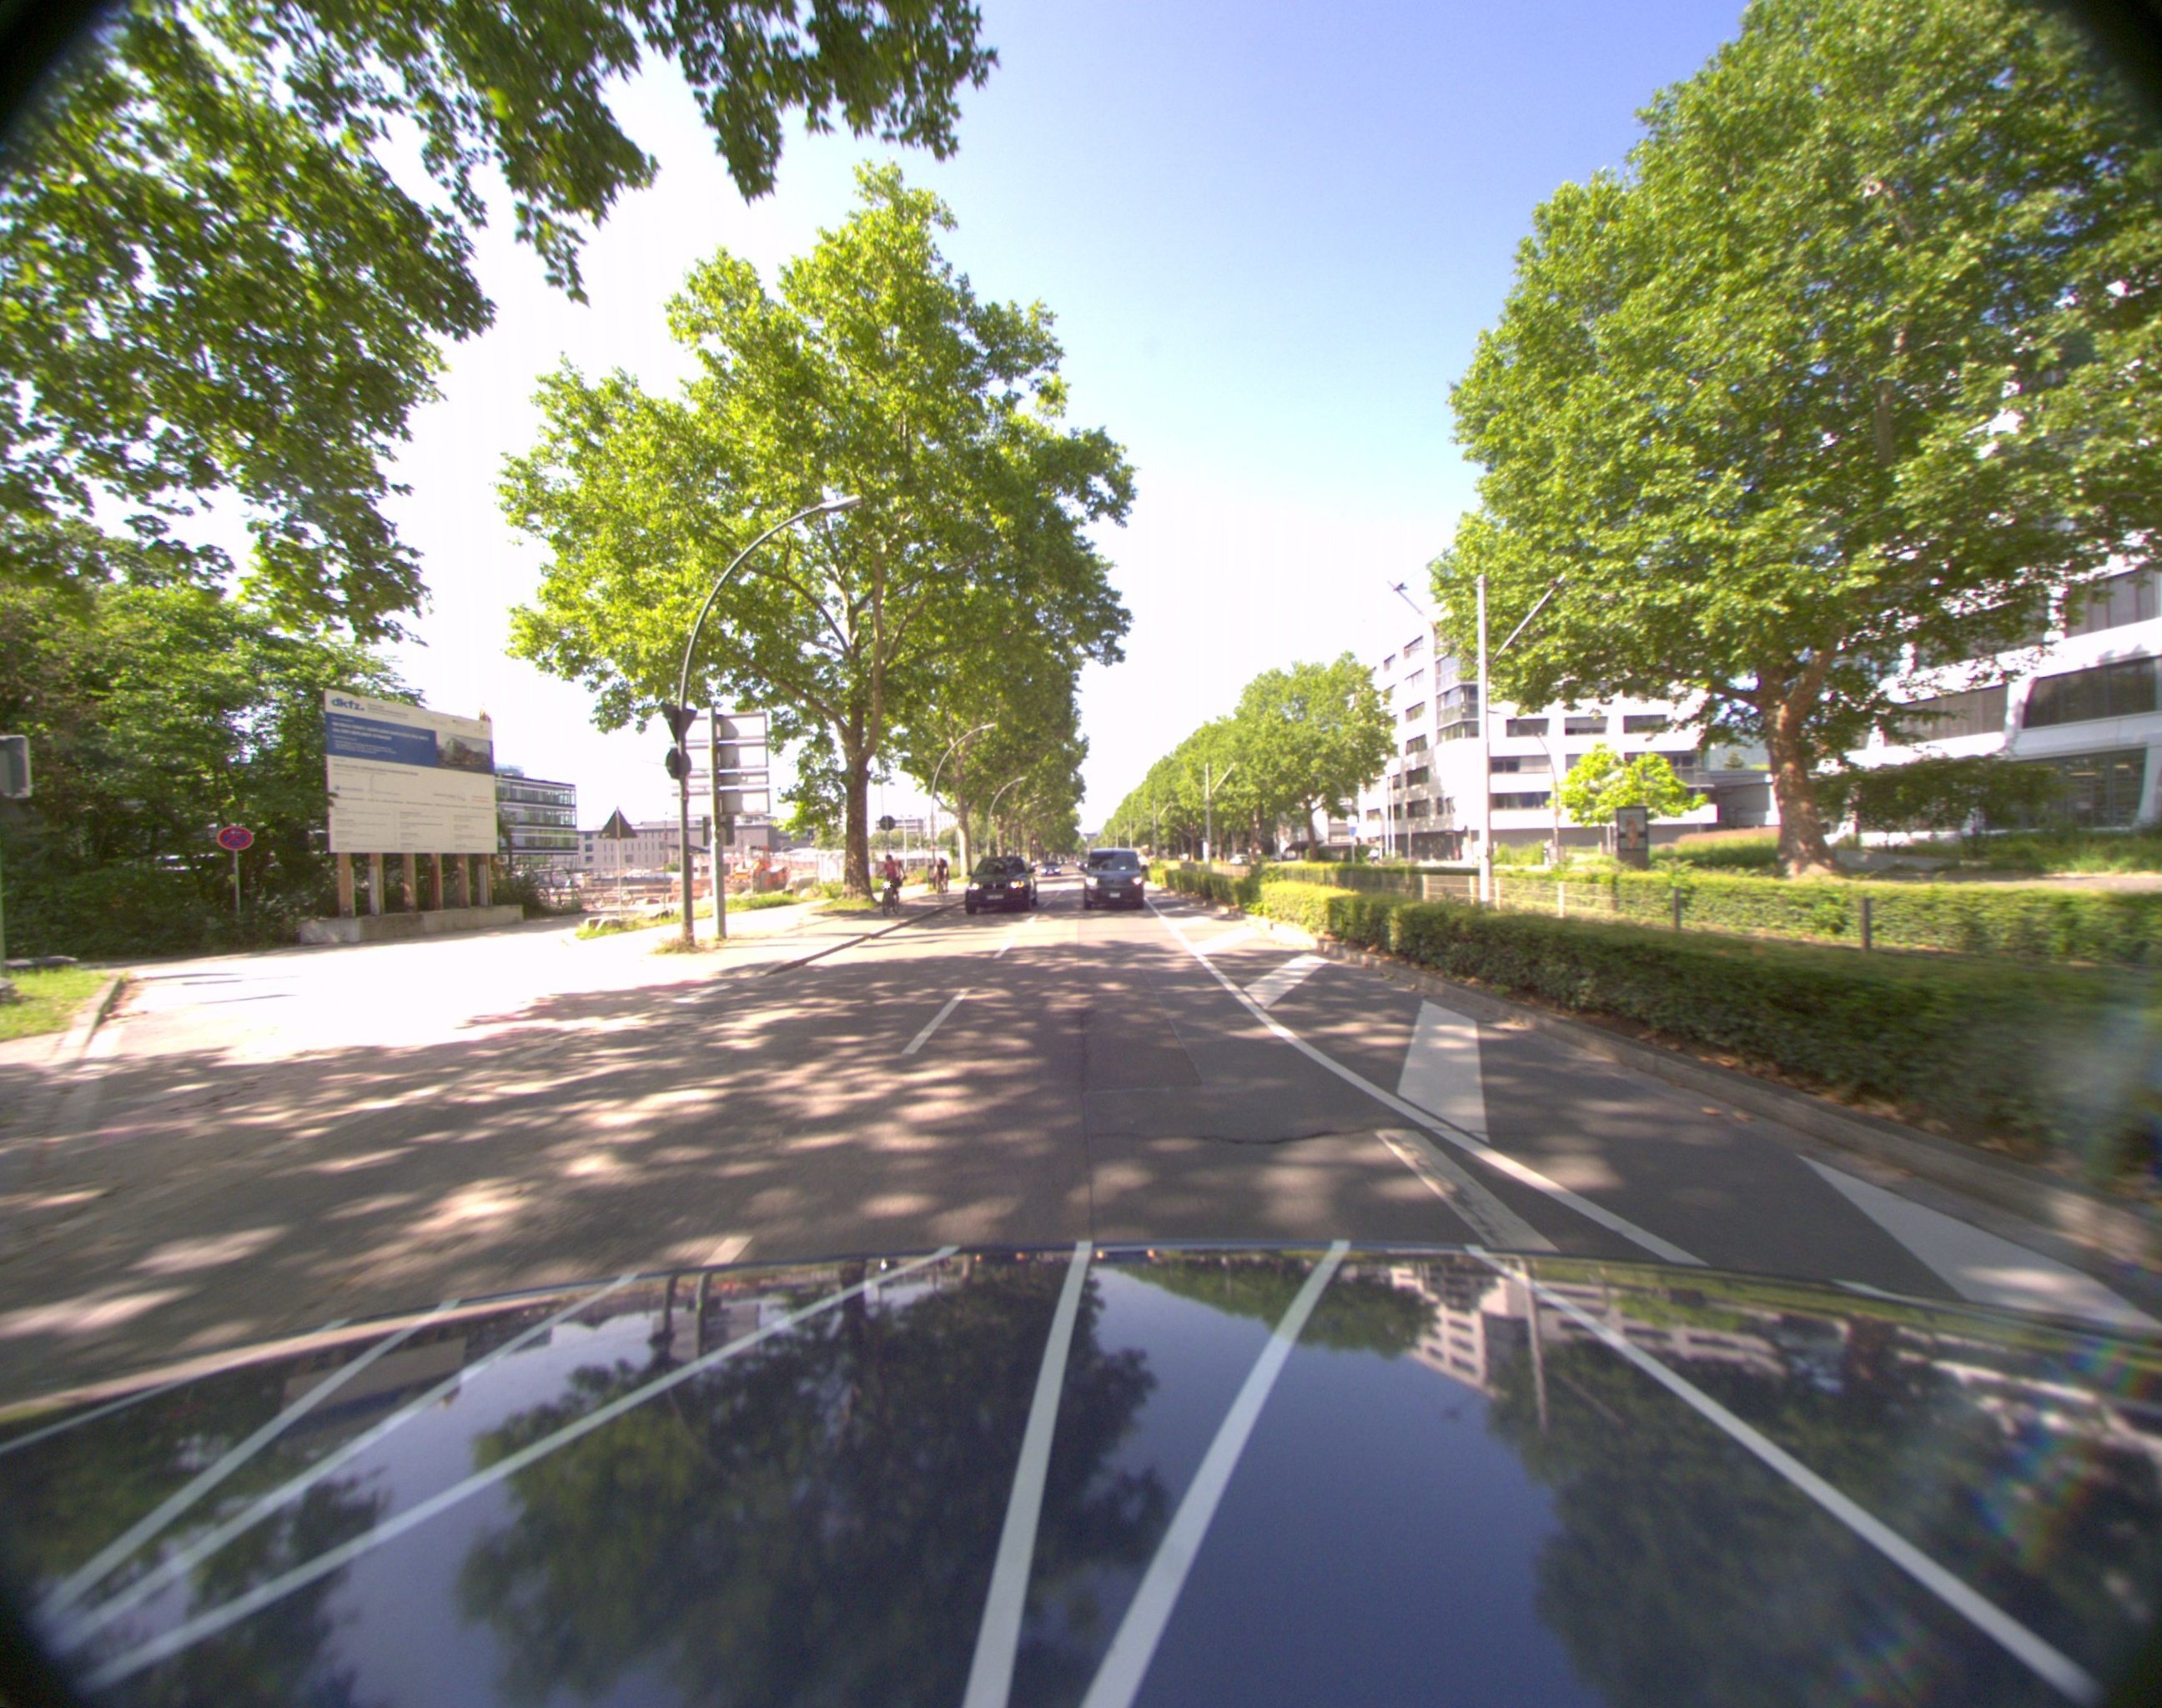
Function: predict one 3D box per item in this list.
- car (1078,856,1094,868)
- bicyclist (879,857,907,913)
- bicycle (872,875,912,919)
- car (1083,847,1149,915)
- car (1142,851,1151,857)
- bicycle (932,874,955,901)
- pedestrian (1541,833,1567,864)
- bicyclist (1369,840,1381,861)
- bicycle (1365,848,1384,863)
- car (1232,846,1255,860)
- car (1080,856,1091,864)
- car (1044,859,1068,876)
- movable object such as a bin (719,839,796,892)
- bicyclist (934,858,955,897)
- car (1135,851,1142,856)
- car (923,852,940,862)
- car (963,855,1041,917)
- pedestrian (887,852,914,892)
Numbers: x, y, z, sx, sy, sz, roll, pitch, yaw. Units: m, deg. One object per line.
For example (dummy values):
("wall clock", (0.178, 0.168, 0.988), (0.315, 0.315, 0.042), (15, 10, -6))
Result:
("car", (0.633, 1.051, 97.194), (1.854, 1.419, 4.152), (-2, 0, 2))
("bicyclist", (-5.394, 0.878, 21.782), (0.621, 1.591, 0.732), (0, 1, -1))
("bicycle", (-5.394, 1.213, 21.790), (0.653, 1.123, 1.945), (0, 1, 0))
("car", (1.008, 0.721, 22.871), (1.789, 1.839, 4.000), (-1, 1, 2))
("car", (16.598, -0.069, 192.567), (1.820, 1.482, 3.912), (0, 0, -1))
("bicycle", (-5.371, 1.289, 29.751), (0.599, 0.974, 1.781), (1, 0, -1))
("pedestrian", (25.089, -0.276, 40.305), (0.722, 1.579, 1.015), (-2, 1, 1))
("bicyclist", (21.938, -0.236, 56.691), (0.656, 1.526, 0.641), (-2, 1, 1))
("bicycle", (21.958, 0.102, 56.826), (0.666, 1.118, 2.030), (-2, 1, 1))
("car", (18.461, -0.115, 86.446), (1.761, 1.560, 4.019), (-2, 0, 1))
("car", (0.910, 1.080, 142.354), (1.854, 1.419, 4.152), (-2, 0, 2))
("car", (-2.254, 1.205, 69.063), (1.854, 1.419, 4.152), (-2, 0, 2))
("movable object such as a bin", (-20.350, 0.695, 48.110), (2.376, 3.054, 5.984), (-2, 0, -2))
("bicyclist", (-5.359, 0.897, 29.801), (0.600, 1.481, 1.214), (1, 0, -1))
("car", (17.383, -0.073, 229.538), (1.860, 1.445, 3.999), (-2, 0, -1))
("car", (-37.959, 0.738, 192.844), (3.998, 2.308, 1.808), (-2, 0, -3))
("car", (-2.417, 0.944, 24.304), (1.924, 1.720, 4.151), (-2, 0, 1))
("pedestrian", (-8.648, 0.856, 36.464), (0.941, 1.881, 1.151), (-2, 1, 1))
